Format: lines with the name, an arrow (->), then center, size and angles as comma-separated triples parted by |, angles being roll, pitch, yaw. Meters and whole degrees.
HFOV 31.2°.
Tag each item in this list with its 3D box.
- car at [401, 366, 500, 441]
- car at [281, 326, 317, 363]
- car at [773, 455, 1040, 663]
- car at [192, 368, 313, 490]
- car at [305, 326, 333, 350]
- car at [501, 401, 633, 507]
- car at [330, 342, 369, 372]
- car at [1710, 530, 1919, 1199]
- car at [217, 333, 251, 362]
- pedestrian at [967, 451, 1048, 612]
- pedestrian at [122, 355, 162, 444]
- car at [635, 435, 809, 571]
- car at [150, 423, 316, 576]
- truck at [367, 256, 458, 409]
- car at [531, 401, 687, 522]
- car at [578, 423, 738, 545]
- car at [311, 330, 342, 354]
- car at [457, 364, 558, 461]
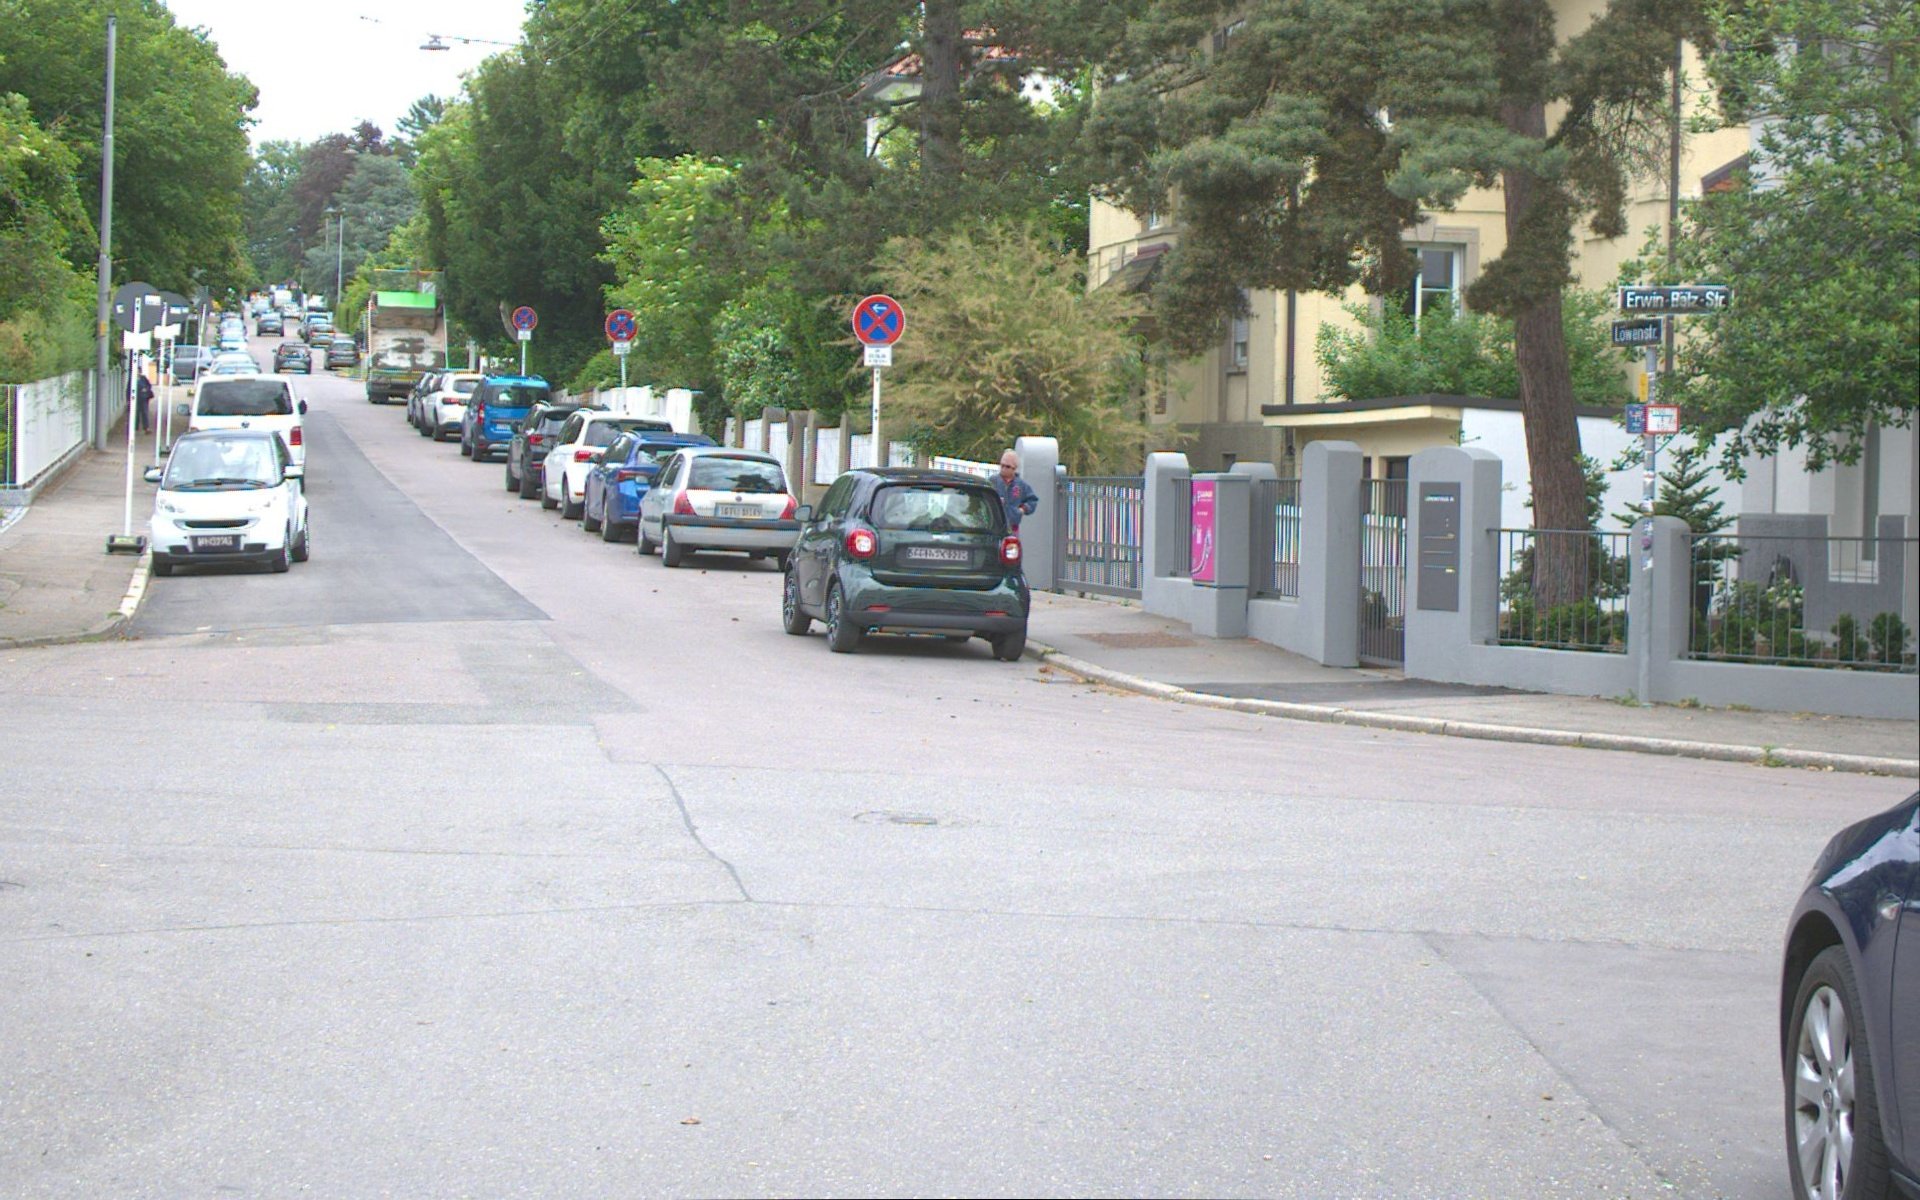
car -> -12.321, -4.768, 82.971 | 1.757, 1.600, 4.578 | 2, 4, -15
car -> -32.810, -12.678, 170.598 | 1.633, 1.695, 3.496 | 2, 5, -13
car -> -0.512, -0.387, 29.564 | 1.571, 1.526, 2.869 | 3, 3, -14
car -> -11.833, -2.907, 57.526 | 1.854, 1.906, 4.622 | -1, 4, -11
car -> -43.338, -17.728, 232.431 | 1.789, 1.524, 3.736 | 2, 4, -10
car -> -6.708, -2.508, 58.390 | 1.749, 1.602, 4.077 | 3, 3, -12
car -> -32.210, -12.809, 181.380 | 1.778, 1.483, 4.002 | 1, 4, -13
car -> 2.680, 0.683, 5.517 | 1.818, 1.480, 4.287 | 1, 2, -2
car -> -41.864, -14.586, 198.346 | 1.711, 1.580, 4.002 | 2, 4, -9
pedestrian -> 0.469, -0.691, 34.330 | 0.681, 1.571, 0.907 | -1, 2, -6
pedestrian -> -18.906, -4.641, 79.456 | 0.811, 2.006, 0.860 | 2, 4, -11
car -> -2.926, -1.207, 41.609 | 1.573, 1.395, 3.657 | 3, 4, -12
car -> -8.121, -1.162, 38.582 | 1.442, 1.546, 2.771 | -2, 4, -5
truck -> -18.046, -8.790, 113.041 | 2.523, 4.731, 7.191 | 2, 4, -11
car -> -5.441, -2.161, 52.819 | 1.784, 1.597, 4.307 | 3, 4, -13
car -> -4.141, -1.598, 46.619 | 1.647, 1.453, 4.054 | 2, 3, -12
car -> -41.243, -16.797, 223.819 | 1.809, 1.331, 3.634 | 2, 5, -13
car -> -9.592, -3.987, 72.648 | 1.682, 1.822, 4.159 | 3, 4, -13
